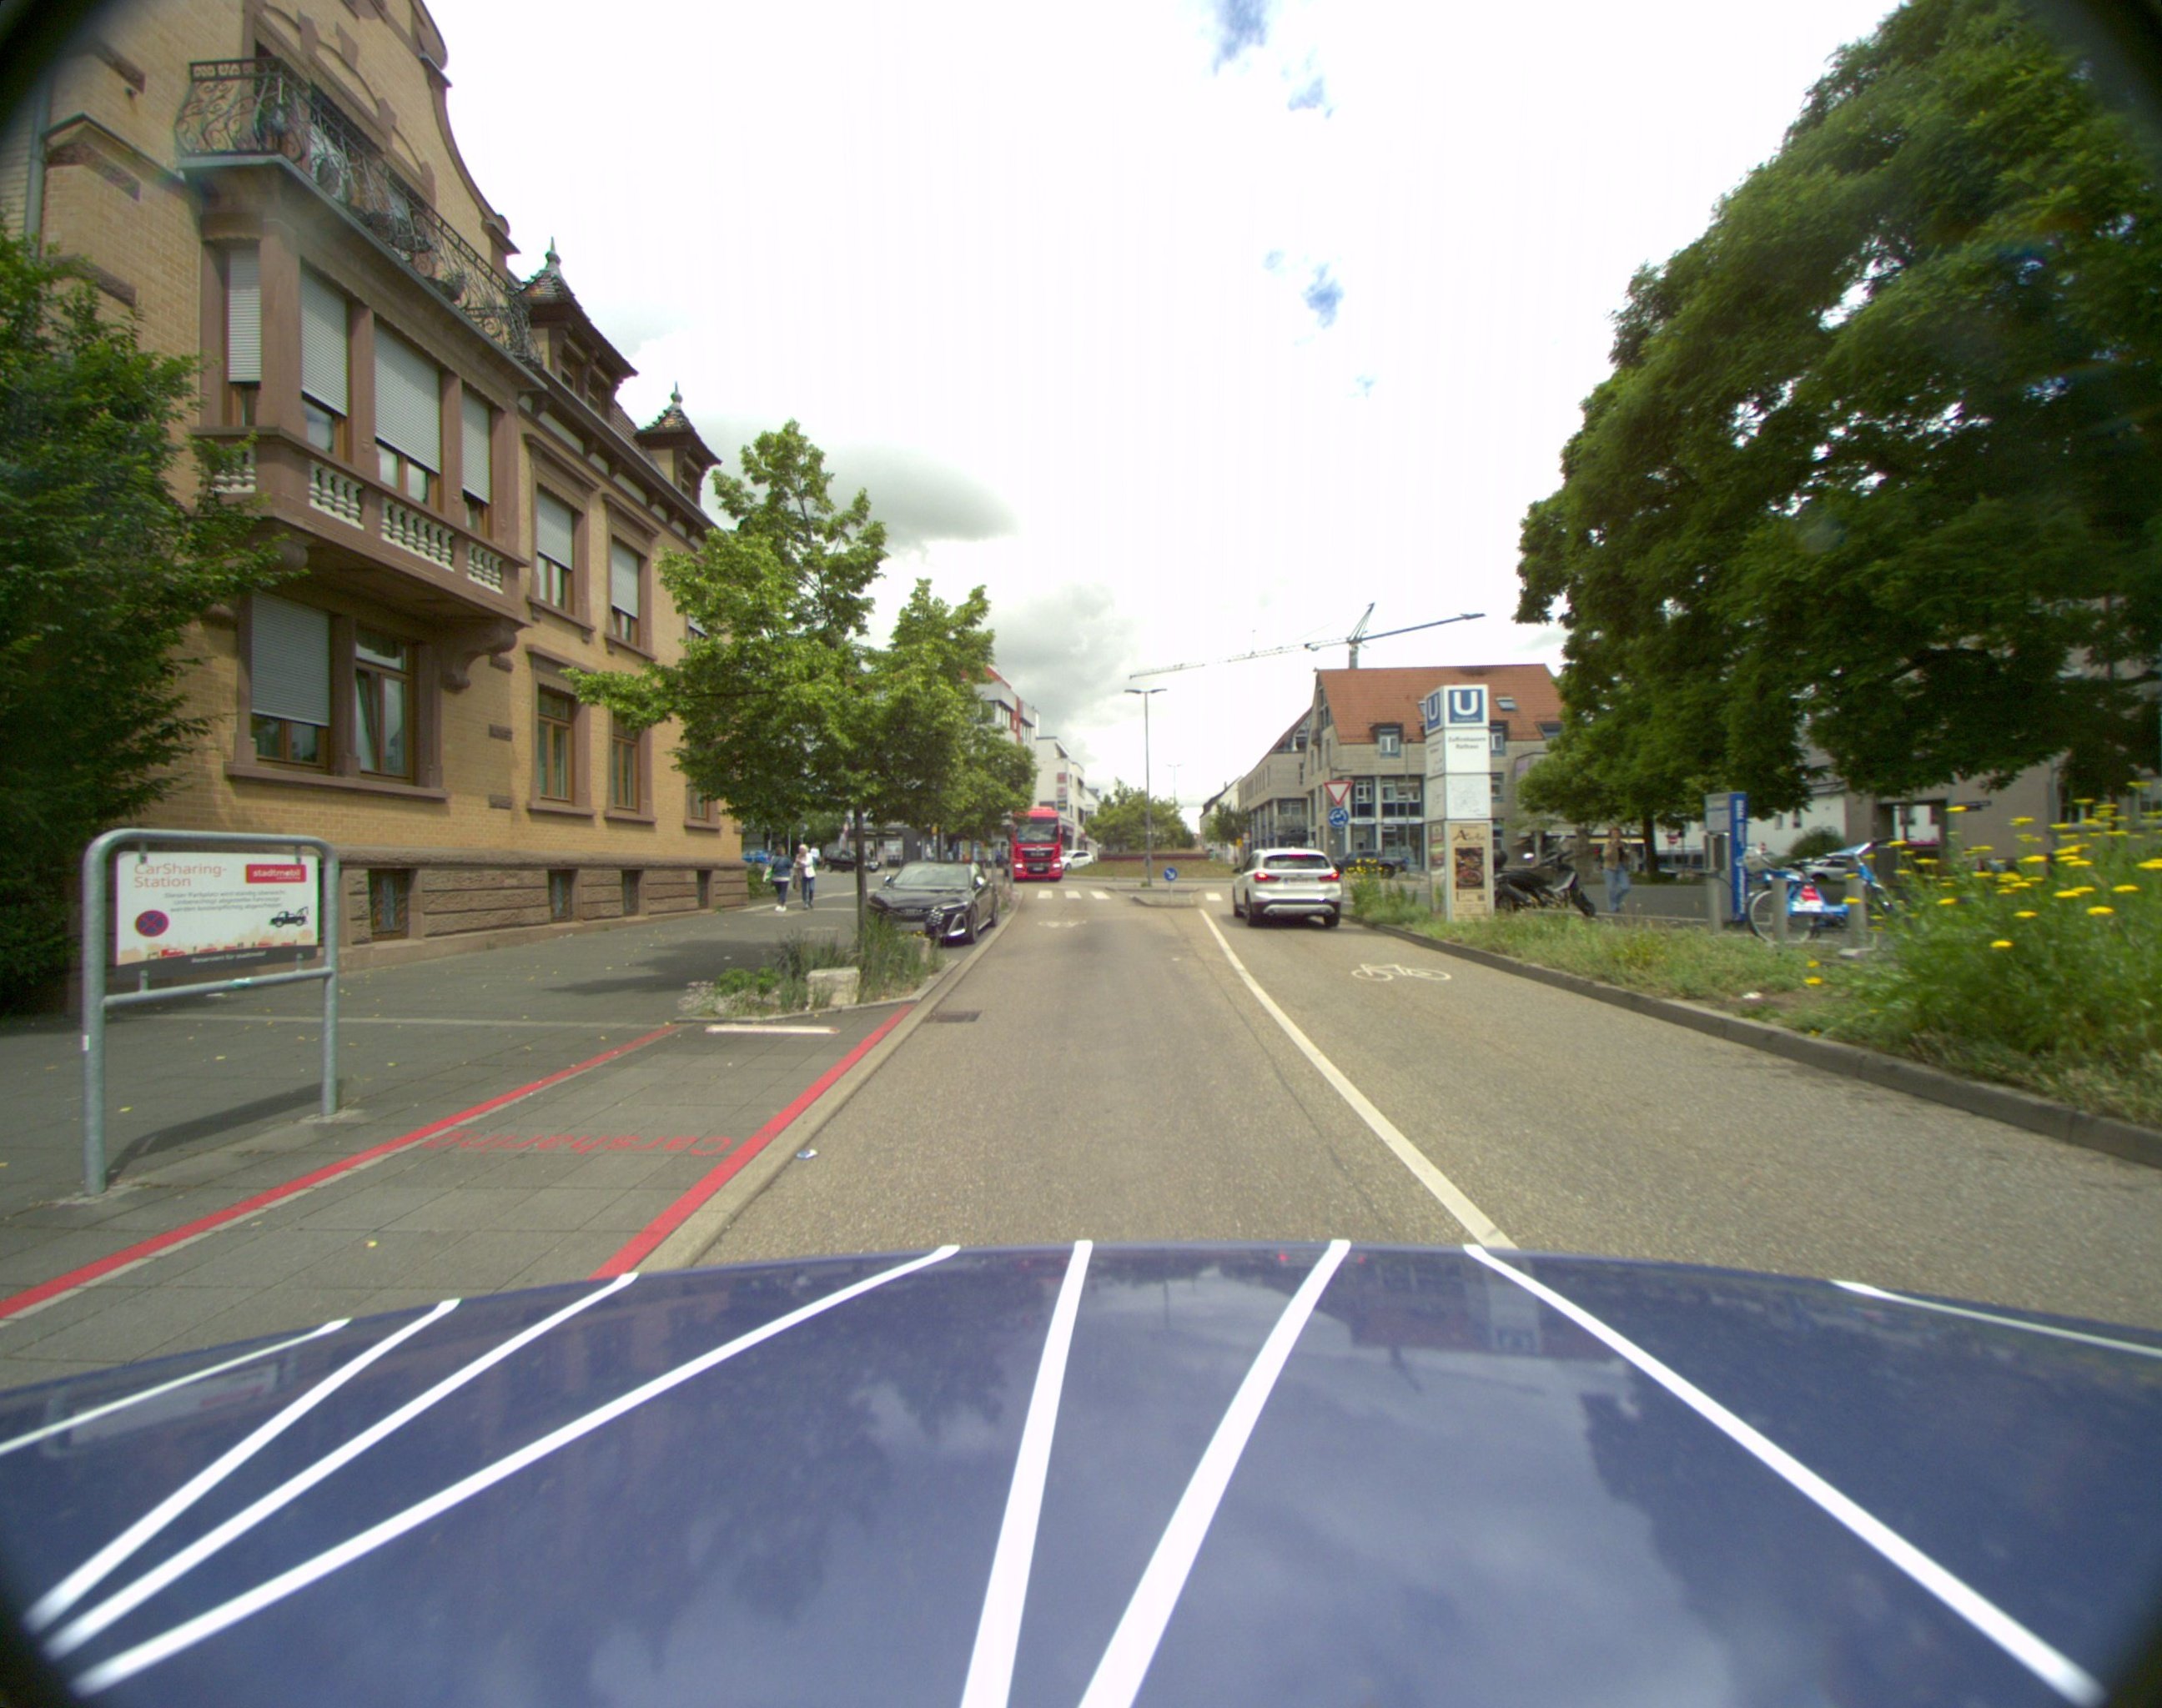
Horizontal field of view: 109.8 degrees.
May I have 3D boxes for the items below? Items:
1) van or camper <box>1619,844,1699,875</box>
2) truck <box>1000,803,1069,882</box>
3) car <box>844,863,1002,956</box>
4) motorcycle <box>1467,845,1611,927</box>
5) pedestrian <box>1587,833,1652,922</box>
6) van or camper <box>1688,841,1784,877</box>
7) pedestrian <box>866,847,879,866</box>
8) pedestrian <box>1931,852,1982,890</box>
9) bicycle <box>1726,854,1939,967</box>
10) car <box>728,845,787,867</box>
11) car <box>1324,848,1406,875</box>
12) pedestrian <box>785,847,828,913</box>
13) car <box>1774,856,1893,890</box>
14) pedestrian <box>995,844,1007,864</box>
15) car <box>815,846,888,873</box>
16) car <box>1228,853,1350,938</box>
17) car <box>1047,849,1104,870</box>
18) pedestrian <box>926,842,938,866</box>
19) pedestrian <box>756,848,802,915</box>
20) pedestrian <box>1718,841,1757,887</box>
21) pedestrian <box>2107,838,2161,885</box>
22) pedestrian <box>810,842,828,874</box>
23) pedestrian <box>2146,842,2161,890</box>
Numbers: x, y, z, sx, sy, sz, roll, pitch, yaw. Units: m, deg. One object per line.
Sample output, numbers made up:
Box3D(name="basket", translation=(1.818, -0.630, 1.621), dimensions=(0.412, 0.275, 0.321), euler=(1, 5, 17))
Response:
Box3D(name="van or camper", translation=(45.576, 0.437, 60.044), dimensions=(2.002, 2.368, 4.666), euler=(-1, 0, -24))
Box3D(name="truck", translation=(-2.870, -0.662, 43.125), dimensions=(2.683, 3.821, 10.836), euler=(-2, 1, -9))
Box3D(name="car", translation=(-2.790, 0.926, 14.595), dimensions=(1.998, 1.405, 4.736), euler=(0, 0, 1))
Box3D(name="motorcycle", translation=(8.219, 0.562, 13.700), dimensions=(2.194, 1.441, 0.648), euler=(0, 2, -1))
Box3D(name="pedestrian", translation=(10.160, 0.446, 14.364), dimensions=(0.661, 1.619, 0.800), euler=(-1, -1, 8))
Box3D(name="van or camper", translation=(45.639, 0.342, 53.057), dimensions=(2.002, 2.368, 4.666), euler=(-1, 0, -24))
Box3D(name="pedestrian", translation=(-17.050, 0.198, 62.221), dimensions=(0.684, 1.574, 0.767), euler=(-1, 2, 10))
Box3D(name="pedestrian", translation=(27.933, 0.531, 24.239), dimensions=(0.817, 1.168, 0.691), euler=(-1, -1, -4))
Box3D(name="bicycle", translation=(7.561, 0.555, 7.672), dimensions=(1.691, 1.075, 0.515), euler=(0, -1, -4))
Box3D(name="car", translation=(-25.491, 0.160, 59.953), dimensions=(3.825, 1.554, 1.820), euler=(-1, 1, 11))
Box3D(name="car", translation=(18.363, 0.501, 49.134), dimensions=(4.880, 1.644, 1.749), euler=(-1, 2, 23))
Box3D(name="pedestrian", translation=(-7.077, 0.651, 19.635), dimensions=(0.697, 1.649, 0.741), euler=(-1, 2, 12))
Box3D(name="car", translation=(38.081, 0.960, 38.550), dimensions=(4.070, 1.530, 1.747), euler=(-2, 1, 8))
Box3D(name="pedestrian", translation=(-6.411, -0.020, 60.715), dimensions=(0.684, 1.585, 0.767), euler=(-1, 2, 10))
Box3D(name="car", translation=(-14.924, 0.348, 49.576), dimensions=(3.995, 1.641, 2.001), euler=(-2, 0, 6))
Box3D(name="car", translation=(4.342, 0.775, 16.509), dimensions=(1.826, 1.575, 4.167), euler=(1, 0, 5))
Box3D(name="car", translation=(-0.372, 0.369, 55.617), dimensions=(1.811, 1.391, 4.061), euler=(0, 2, 44))
Box3D(name="pedestrian", translation=(-11.901, -0.015, 60.647), dimensions=(0.684, 1.902, 0.767), euler=(-1, 2, 10))
Box3D(name="pedestrian", translation=(-7.542, 0.669, 18.983), dimensions=(0.738, 1.630, 0.676), euler=(-1, 2, 26))
Box3D(name="pedestrian", translation=(24.299, 0.371, 28.138), dimensions=(0.690, 1.665, 0.817), euler=(-1, -1, -3))
Box3D(name="pedestrian", translation=(28.184, 0.199, 20.226), dimensions=(0.817, 1.219, 0.691), euler=(-1, -1, -4))
Box3D(name="pedestrian", translation=(-14.787, 0.215, 42.880), dimensions=(0.768, 1.721, 0.751), euler=(-3, 2, -32))
Box3D(name="pedestrian", translation=(28.216, 0.303, 19.493), dimensions=(0.817, 1.219, 0.691), euler=(-1, -1, -4))
